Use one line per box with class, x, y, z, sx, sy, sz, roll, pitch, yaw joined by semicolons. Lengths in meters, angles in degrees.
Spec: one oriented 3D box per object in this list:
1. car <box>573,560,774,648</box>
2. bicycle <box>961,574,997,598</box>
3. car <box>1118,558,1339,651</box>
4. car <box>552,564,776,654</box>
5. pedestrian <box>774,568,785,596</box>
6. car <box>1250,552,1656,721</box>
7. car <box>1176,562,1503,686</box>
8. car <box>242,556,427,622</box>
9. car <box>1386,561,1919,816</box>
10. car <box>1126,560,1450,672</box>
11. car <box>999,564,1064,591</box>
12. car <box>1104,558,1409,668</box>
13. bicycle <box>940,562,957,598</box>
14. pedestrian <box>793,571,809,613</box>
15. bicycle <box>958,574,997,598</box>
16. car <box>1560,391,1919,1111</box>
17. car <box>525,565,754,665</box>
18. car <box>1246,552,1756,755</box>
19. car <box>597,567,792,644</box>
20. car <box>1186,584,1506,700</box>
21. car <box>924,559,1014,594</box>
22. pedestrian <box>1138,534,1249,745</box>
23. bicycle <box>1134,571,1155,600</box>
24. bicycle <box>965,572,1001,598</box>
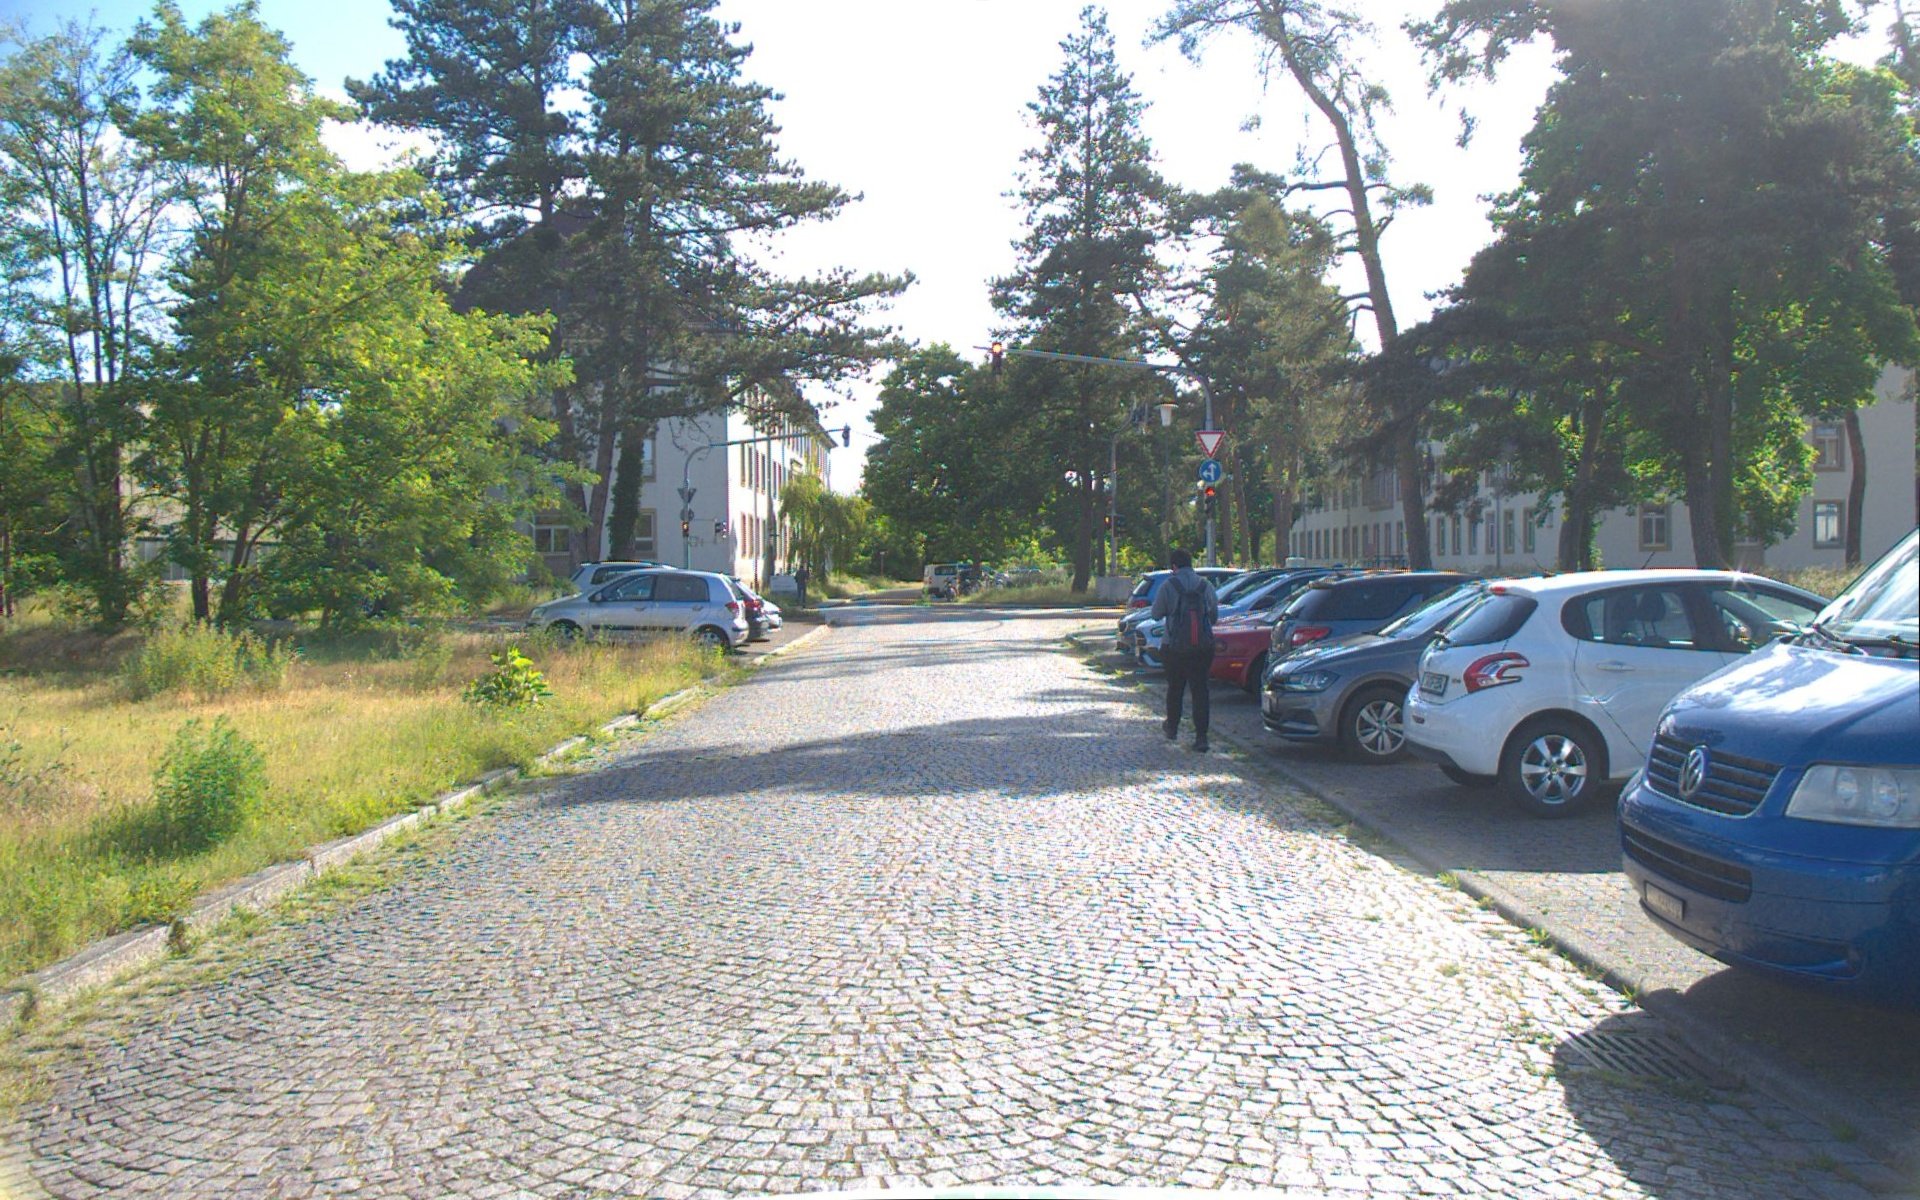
car;-5.792;0.058;33.726;3.801;1.643;1.660;2;1;-2
bicycle;0.891;-0.672;78.816;1.693;1.131;0.484;-1;1;-4
car;4.718;0.060;29.374;3.598;1.468;1.665;-2;1;-1
car;-5.500;0.156;31.072;3.858;1.470;1.690;3;1;-2
pedestrian;-10.070;-0.998;92.110;0.595;1.587;0.544;0;1;-7
car;4.914;0.336;16.821;3.588;1.480;1.666;-2;1;-1
car;4.921;0.285;21.781;3.898;1.474;1.655;-2;1;-1
car;-16.427;-0.314;43.573;4.059;1.636;2.010;-1;1;0
car;4.832;0.527;10.994;3.570;1.518;1.634;-1;1;0
car;4.692;0.208;24.061;4.310;1.413;1.788;-2;1;-2
car;4.308;-1.349;100.131;3.673;1.607;1.738;0;1;-8
car;4.735;0.176;26.839;4.528;1.481;1.869;-3;1;-3
bicycle;-0.536;-0.923;75.011;0.738;1.608;2.536;0;1;-1
pedestrian;-6.834;-0.357;71.046;0.597;1.783;0.627;-1;1;-18
bicycle;0.829;-0.662;78.271;1.798;1.131;0.495;-1;1;-4
car;4.803;0.313;5.745;4.657;2.048;2.000;-3;1;0
car;-5.437;0.230;28.410;3.612;1.554;1.698;2;1;-3
car;4.415;0.402;13.919;3.703;1.475;1.758;-2;1;1
car;-5.811;0.091;36.457;3.903;1.522;1.774;2;1;4
car;4.454;0.461;19.388;3.390;1.264;1.536;0;1;0
car;0.490;-1.388;96.175;4.974;1.951;1.995;-1;1;-10
pedestrian;2.043;0.334;14.568;0.738;1.755;0.828;4;1;-1
bicycle;7.418;-0.596;66.451;0.706;1.134;2.586;-1;1;9
bicycle;1.115;-0.724;79.500;1.693;1.185;0.560;-1;1;-4
